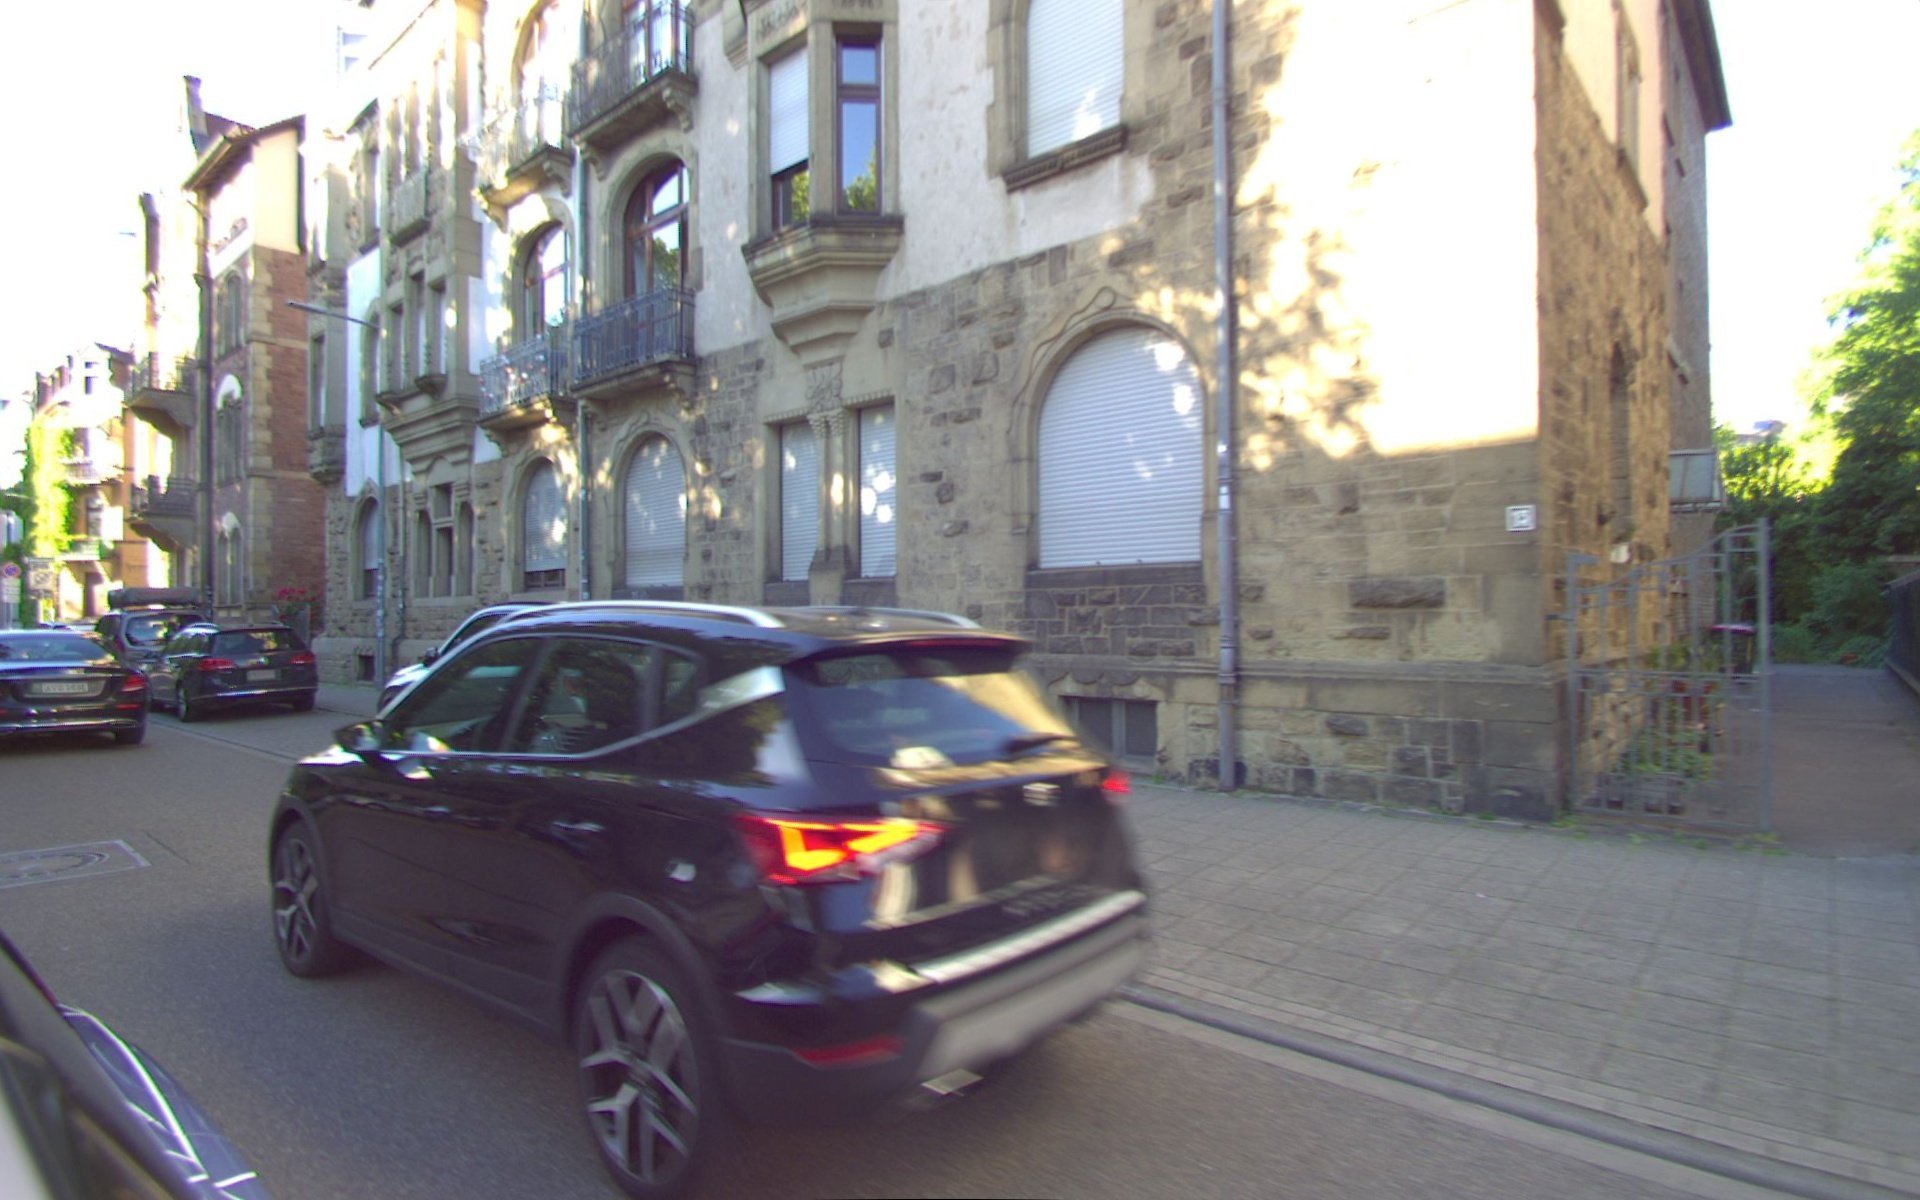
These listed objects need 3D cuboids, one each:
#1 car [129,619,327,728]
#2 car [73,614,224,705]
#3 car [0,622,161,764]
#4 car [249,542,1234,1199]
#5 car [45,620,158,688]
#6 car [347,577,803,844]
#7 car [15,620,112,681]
[{"bbox_3d":[-12.200,1.102,16.767,4.210,1.512,1.751,0,-1,41],"label":"car"},{"bbox_3d":[-17.039,1.150,21.187,4.210,1.680,1.751,-1,0,41],"label":"car"},{"bbox_3d":[-11.881,1.057,12.857,4.565,1.474,1.844,-1,0,40],"label":"car"},{"bbox_3d":[-1.093,0.700,3.751,3.757,1.489,1.610,-2,-3,40],"label":"car"},{"bbox_3d":[-21.388,1.328,25.157,3.854,1.458,1.612,-3,1,42],"label":"car"},{"bbox_3d":[-3.481,0.756,8.707,4.337,1.730,1.856,-2,-1,41],"label":"car"},{"bbox_3d":[-25.493,1.431,28.731,3.854,1.516,1.612,-3,1,42],"label":"car"}]
